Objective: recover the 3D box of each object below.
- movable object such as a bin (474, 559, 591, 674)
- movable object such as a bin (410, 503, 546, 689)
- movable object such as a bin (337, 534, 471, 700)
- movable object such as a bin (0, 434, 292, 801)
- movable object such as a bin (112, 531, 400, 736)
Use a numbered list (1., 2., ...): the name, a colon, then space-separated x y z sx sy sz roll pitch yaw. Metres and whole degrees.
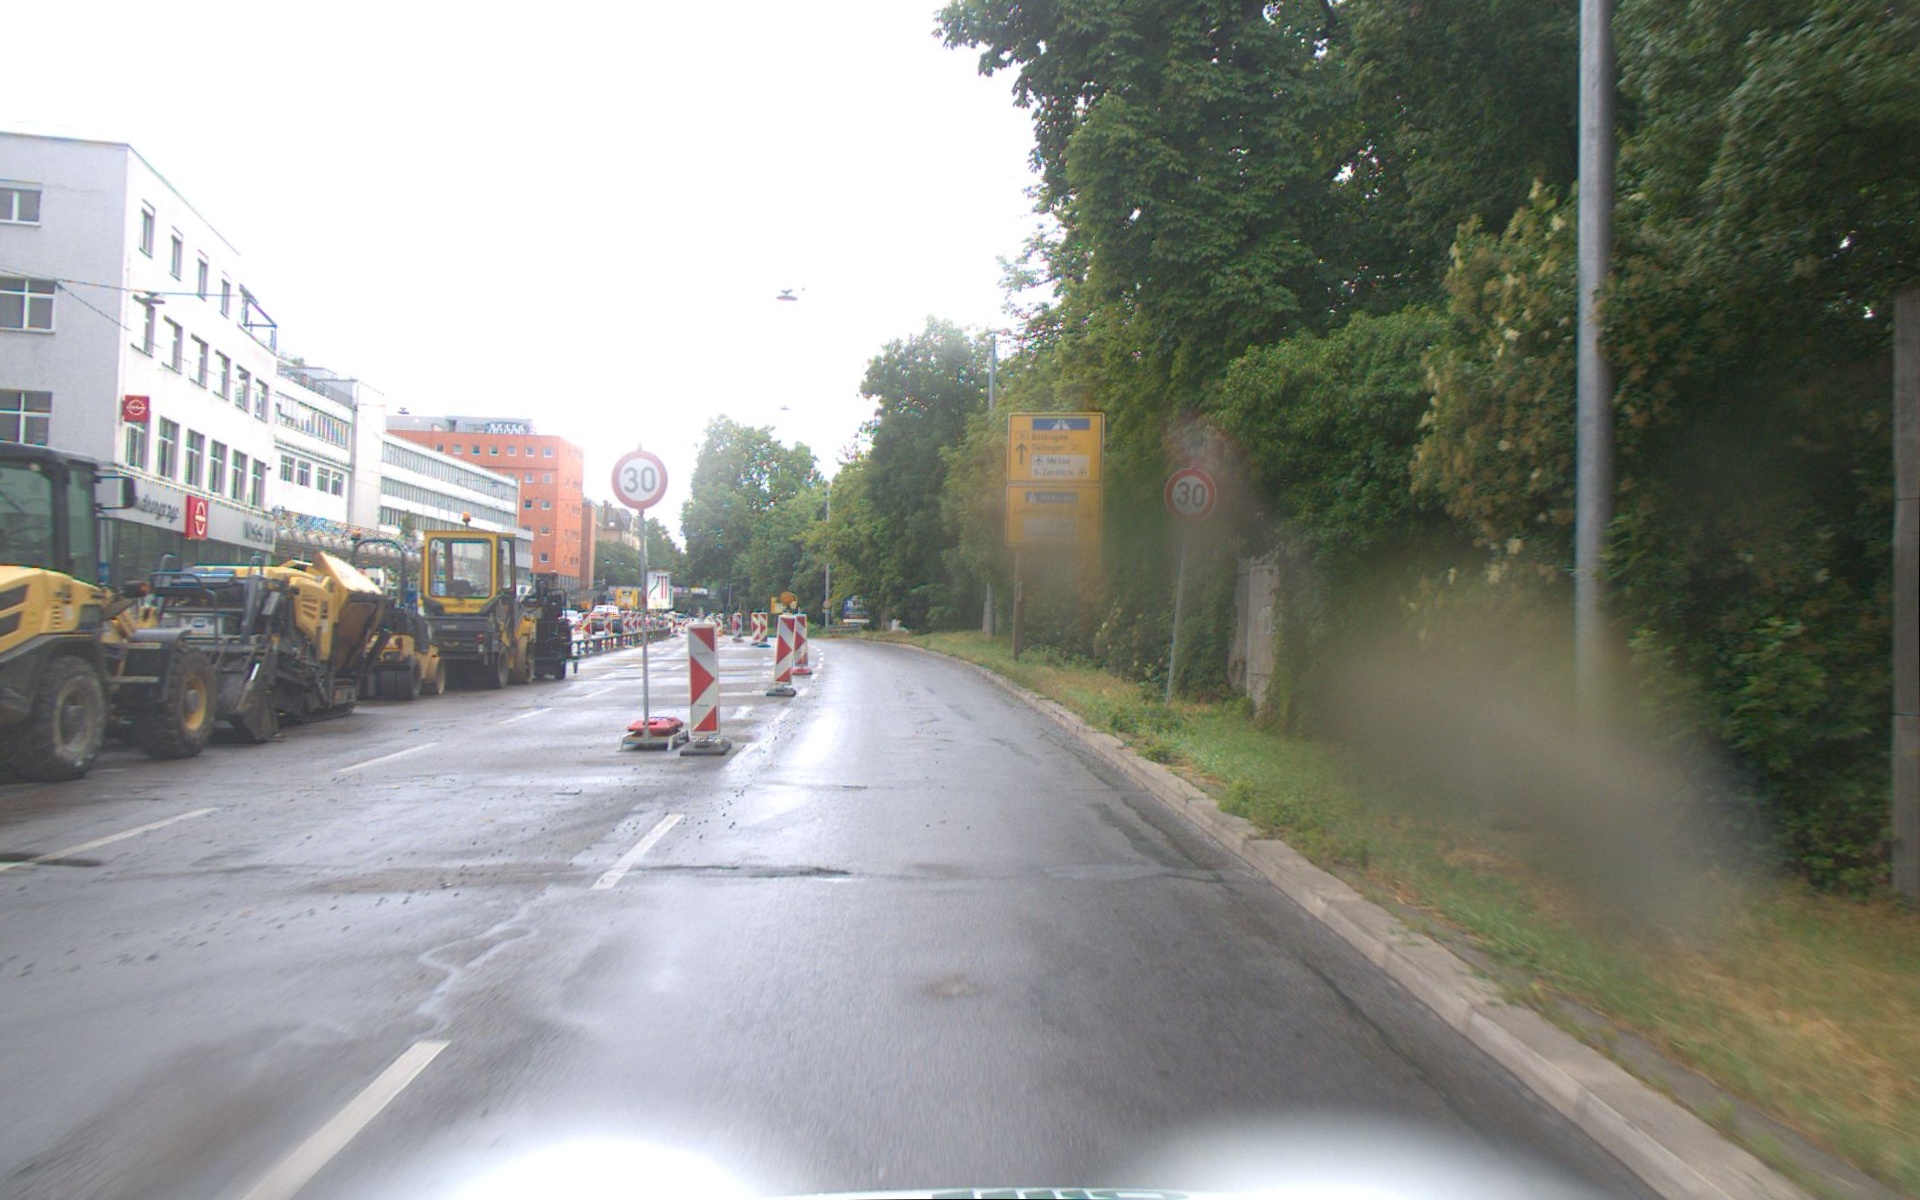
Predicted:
1. movable object such as a bin: -8.524 0.319 33.208 1.682 2.187 3.347 0 0 -4
2. movable object such as a bin: -8.405 -0.065 29.096 1.436 3.061 3.722 0 0 -2
3. movable object such as a bin: -8.523 0.249 25.524 1.383 2.443 2.404 0 0 -4
4. movable object such as a bin: -7.906 0.112 14.566 1.863 2.655 5.382 1 0 -1
5. movable object such as a bin: -8.260 0.355 19.922 1.335 2.126 5.029 1 0 -1
